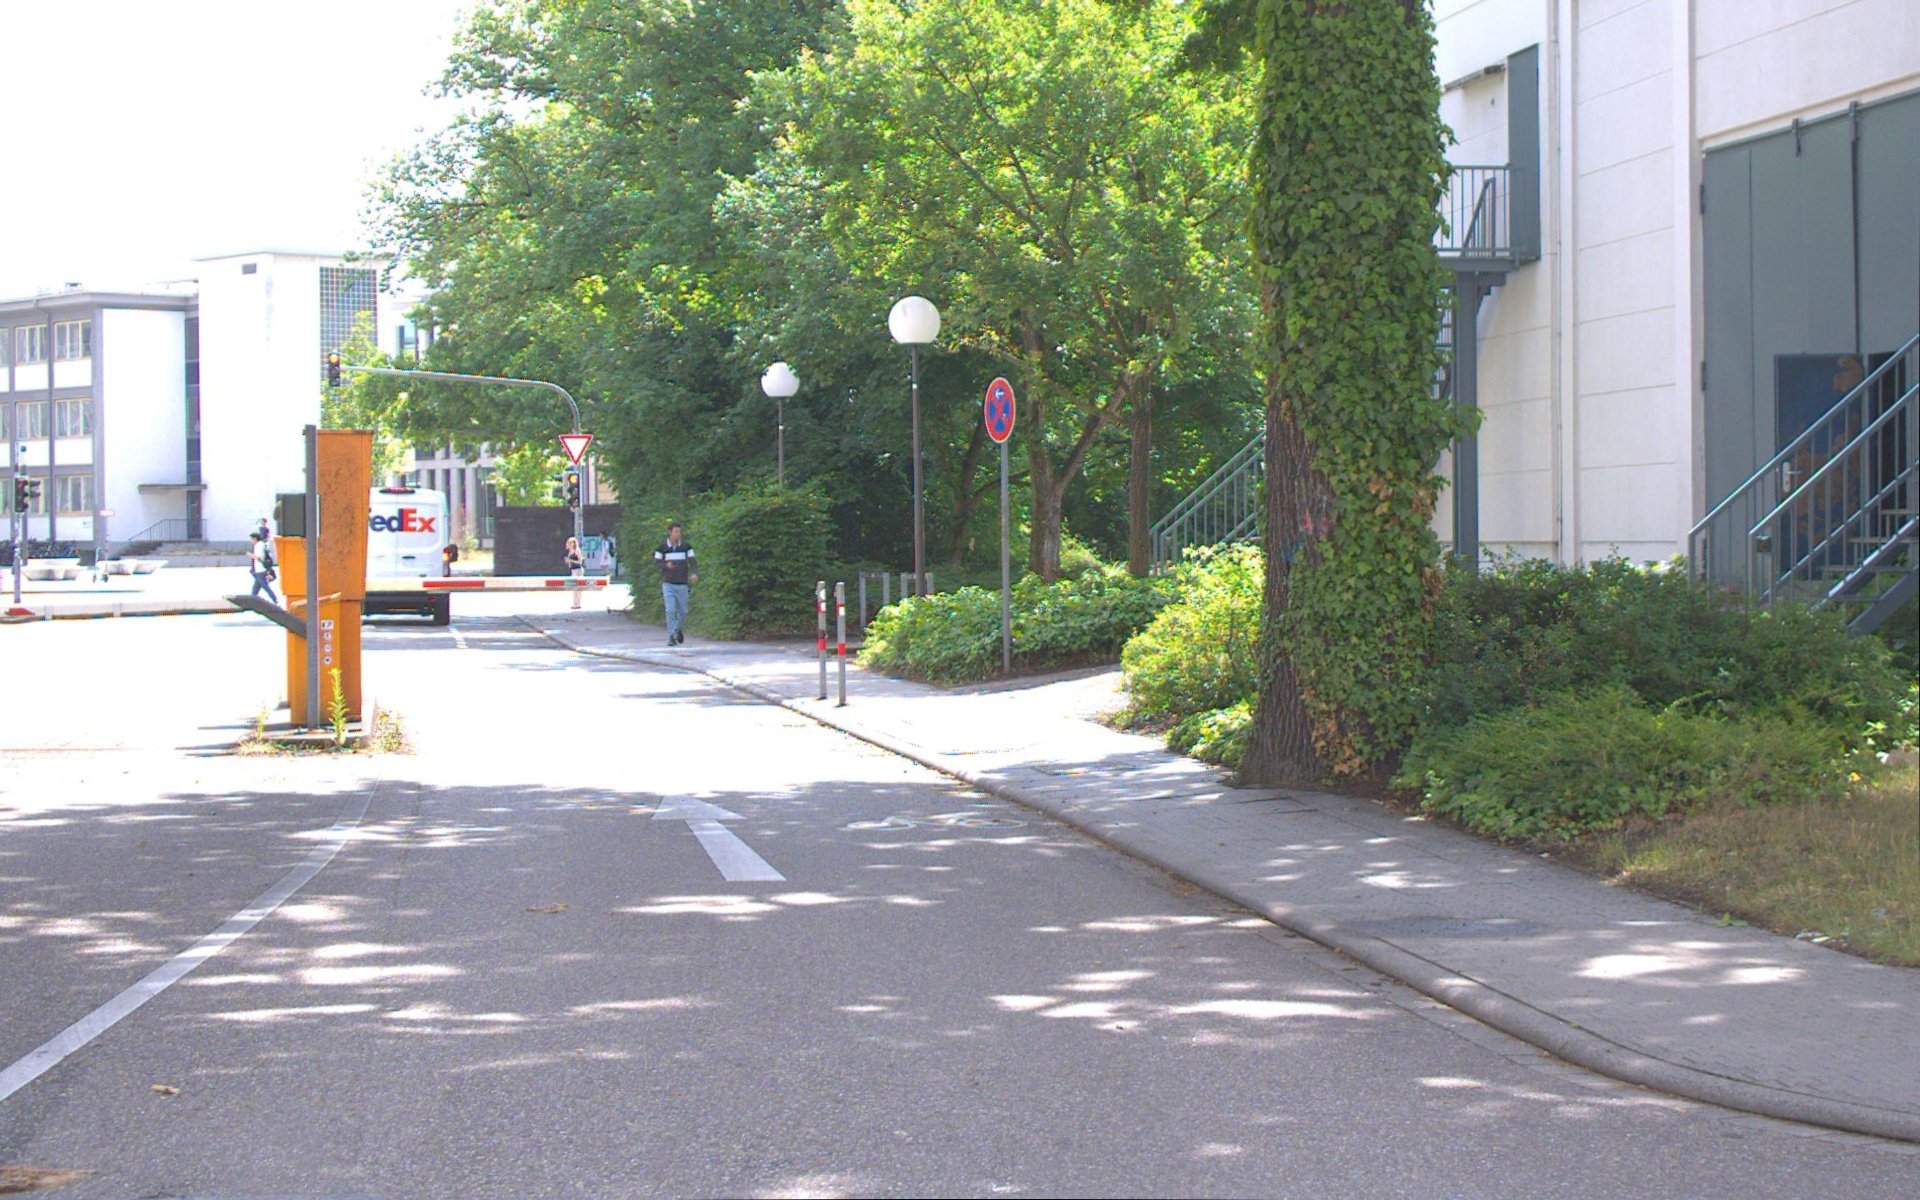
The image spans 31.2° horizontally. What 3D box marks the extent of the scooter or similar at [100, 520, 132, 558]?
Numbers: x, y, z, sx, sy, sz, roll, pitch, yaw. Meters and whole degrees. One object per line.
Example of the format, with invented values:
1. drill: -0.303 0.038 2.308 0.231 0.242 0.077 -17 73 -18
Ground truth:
1. scooter or similar: -26.924 -1.950 109.649 0.716 1.174 2.726 -1 1 -20

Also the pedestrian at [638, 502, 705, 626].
1. pedestrian: -3.951 -0.499 46.965 0.739 1.669 1.257 -1 1 -12

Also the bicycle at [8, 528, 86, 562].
1. bicycle: -37.386 -2.255 140.801 1.116 1.359 2.958 1 1 44

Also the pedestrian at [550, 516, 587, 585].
1. pedestrian: -8.942 -1.136 78.484 0.731 1.570 0.776 0 1 -14

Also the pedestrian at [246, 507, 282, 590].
1. pedestrian: -15.778 -1.168 77.964 0.719 1.853 0.770 -1 1 -7

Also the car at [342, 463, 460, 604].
1. car: -10.722 -1.293 65.808 2.094 2.558 5.604 -1 2 -10

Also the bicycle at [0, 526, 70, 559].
1. bicycle: -38.295 -2.380 141.772 1.116 1.359 2.958 1 1 44

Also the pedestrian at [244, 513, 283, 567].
1. pedestrian: -26.390 -2.278 130.232 1.140 2.007 1.156 0 1 5

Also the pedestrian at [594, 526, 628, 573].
1. pedestrian: -11.254 -1.634 110.759 0.825 1.518 0.815 -1 1 -28
